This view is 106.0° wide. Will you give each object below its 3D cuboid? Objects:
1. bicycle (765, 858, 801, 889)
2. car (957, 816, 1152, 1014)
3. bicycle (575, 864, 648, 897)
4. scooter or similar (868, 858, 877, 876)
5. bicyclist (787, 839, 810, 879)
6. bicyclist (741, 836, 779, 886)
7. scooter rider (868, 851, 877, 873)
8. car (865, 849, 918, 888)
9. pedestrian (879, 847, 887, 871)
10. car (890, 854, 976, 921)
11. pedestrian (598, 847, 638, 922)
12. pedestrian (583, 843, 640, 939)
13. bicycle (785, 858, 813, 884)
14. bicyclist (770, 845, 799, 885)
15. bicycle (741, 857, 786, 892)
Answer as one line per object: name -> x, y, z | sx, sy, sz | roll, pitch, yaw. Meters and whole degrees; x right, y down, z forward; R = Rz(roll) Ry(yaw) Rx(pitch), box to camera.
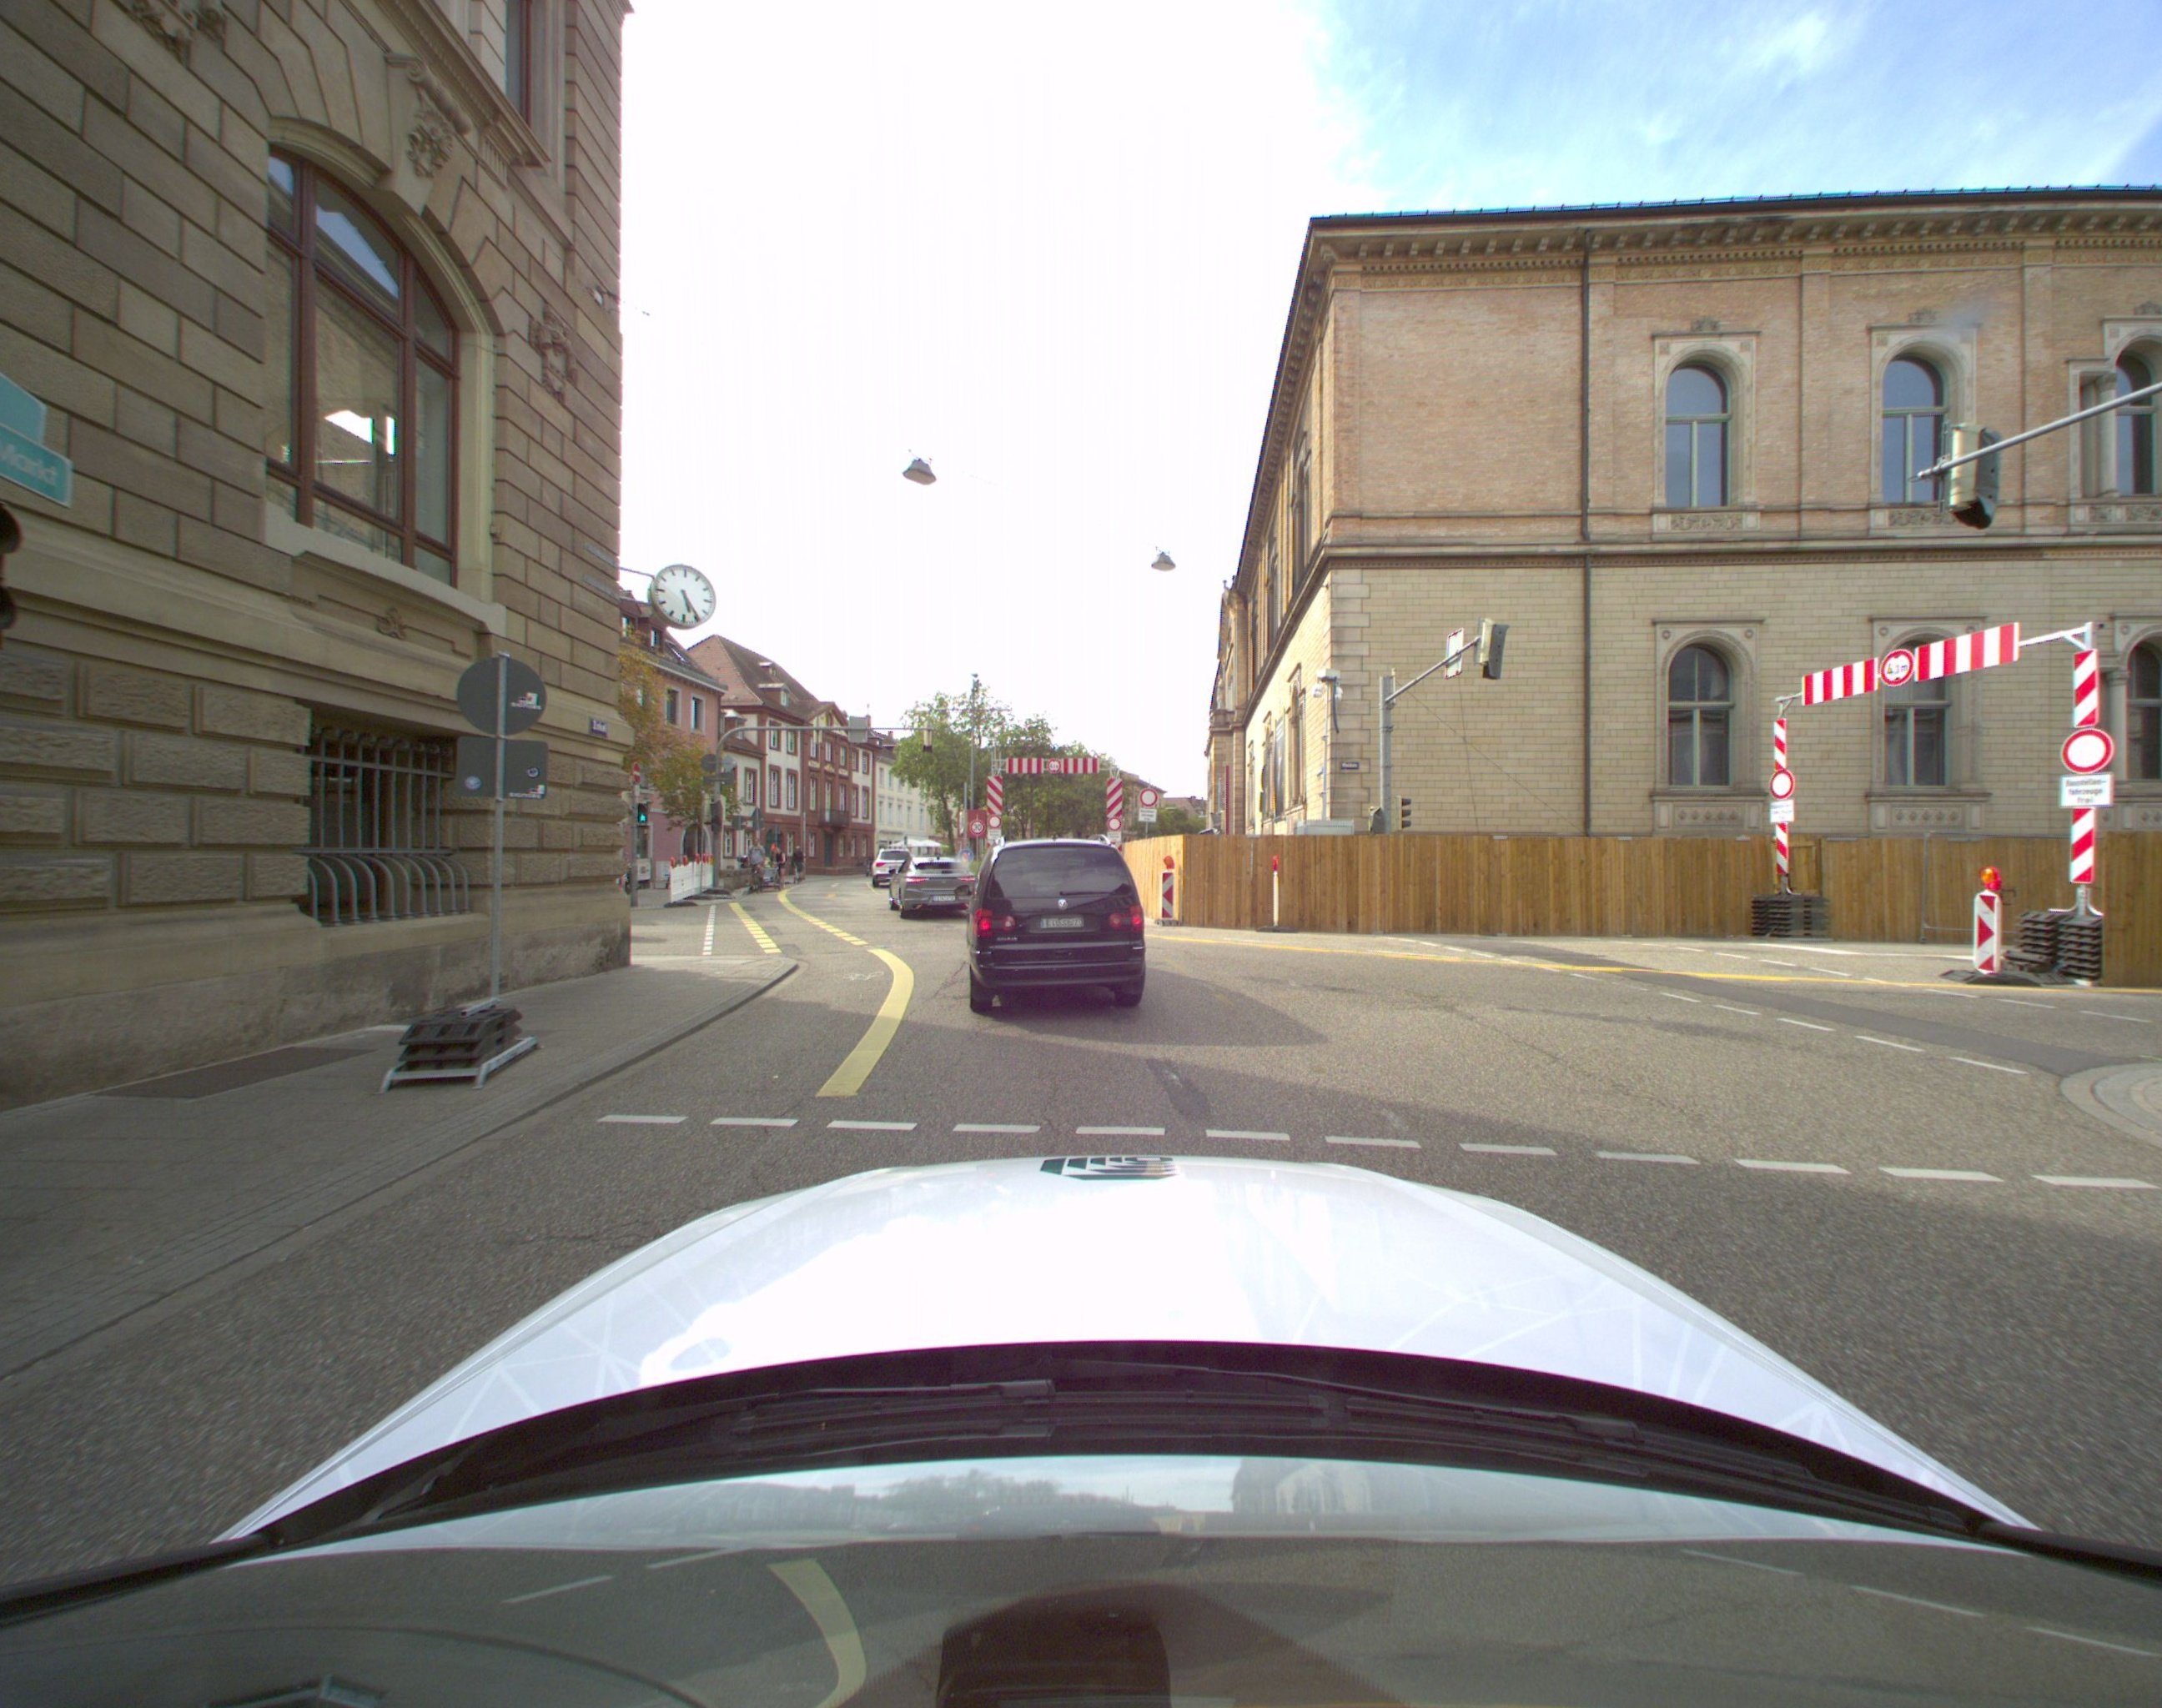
bicycle -> -12.318, 0.786, 33.743 | 0.926, 1.255, 2.533 | 0, -1, -9
car -> -0.457, 0.575, 9.531 | 1.788, 1.790, 4.094 | 0, -1, -7
bicycle -> -15.721, 0.886, 27.294 | 2.049, 1.059, 0.504 | -1, -1, -6
scooter or similar -> -14.779, 0.903, 57.716 | 0.600, 1.255, 1.545 | 0, -1, -13
bicyclist -> -14.215, 0.248, 41.041 | 0.926, 1.963, 1.102 | 0, -1, -10
bicyclist -> -11.797, 0.255, 29.975 | 1.091, 1.824, 1.360 | 0, -1, -11
scooter rider -> -14.780, 0.572, 57.713 | 0.600, 1.490, 0.676 | 0, -1, -13
car -> -8.218, 0.620, 35.158 | 1.779, 1.586, 3.973 | 0, -1, -20
pedestrian -> -16.827, 0.427, 69.241 | 0.586, 2.014, 0.684 | 0, -1, -12
car -> -3.782, 0.766, 20.301 | 1.682, 1.469, 4.080 | 1, -1, -17
pedestrian -> -10.723, 0.693, 18.863 | 0.669, 1.677, 0.690 | -1, 0, -39
pedestrian -> -9.324, 0.712, 16.185 | 0.853, 1.835, 0.847 | 1, -1, -39
bicycle -> -14.231, 0.834, 41.185 | 0.926, 1.255, 2.533 | 0, -1, -9
bicyclist -> -12.333, 0.452, 33.898 | 0.926, 1.609, 1.060 | 0, -1, -10
bicycle -> -11.798, 0.740, 30.386 | 1.057, 1.255, 3.028 | 0, -1, -12
